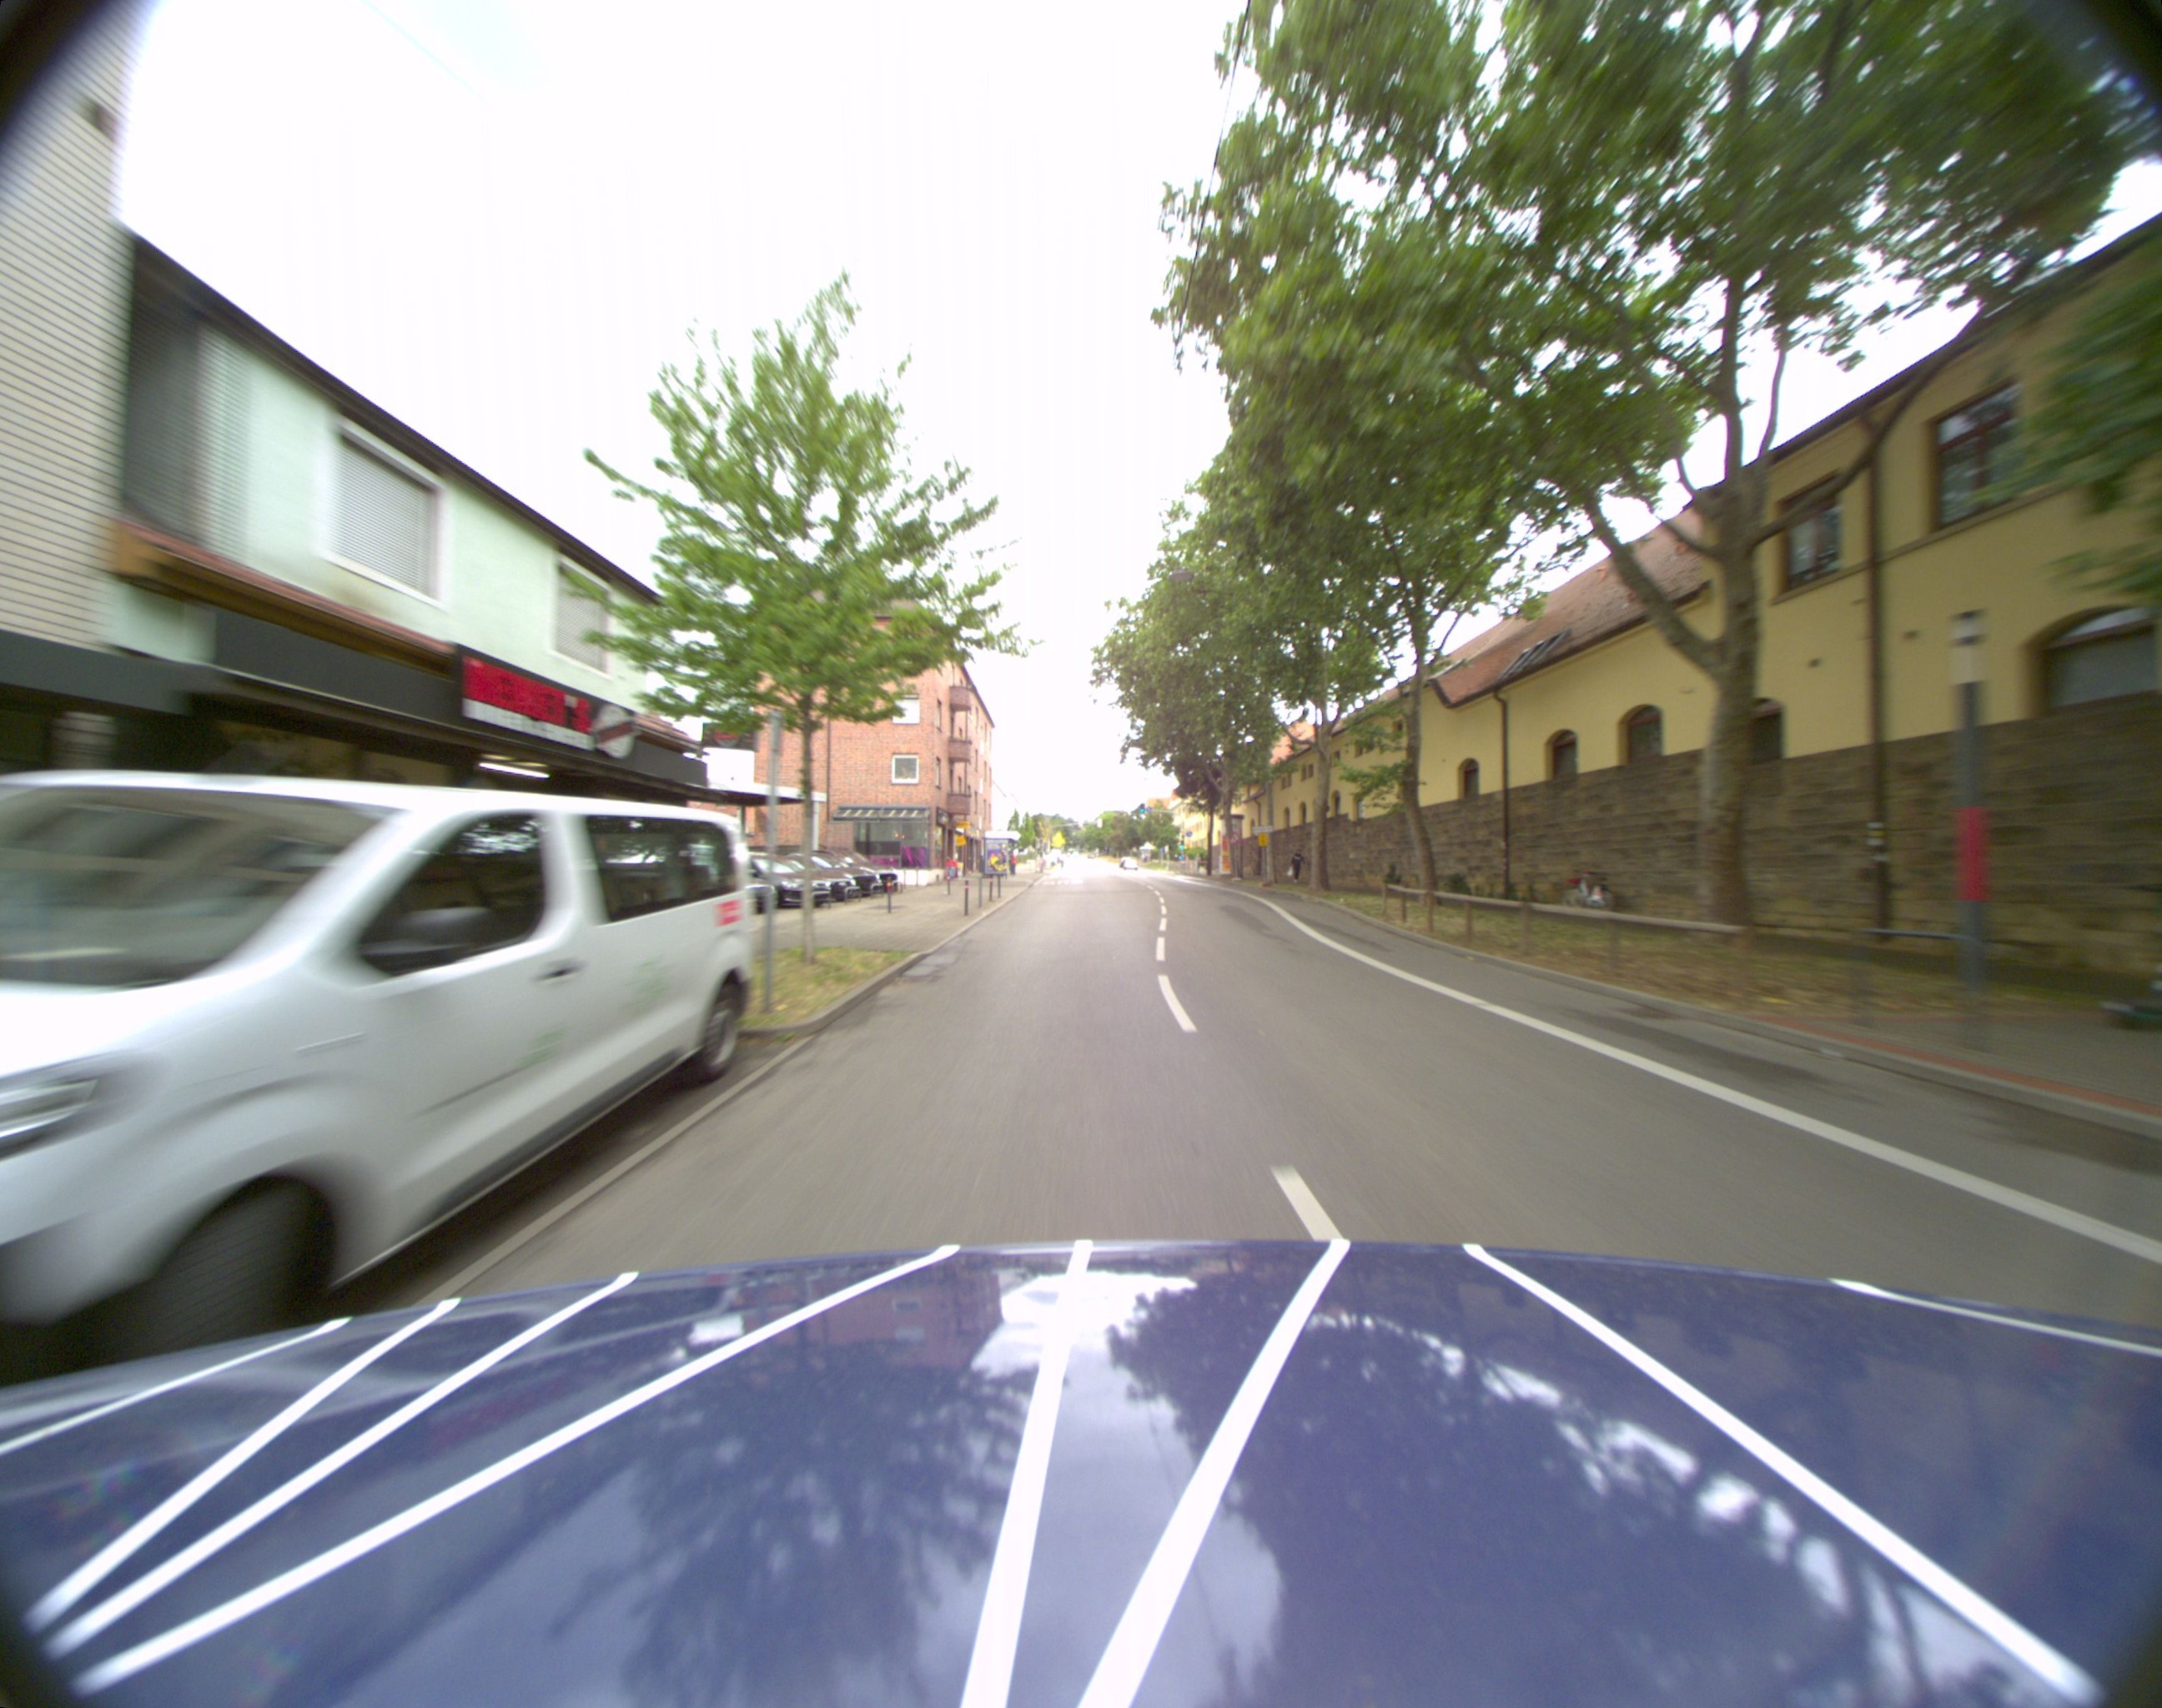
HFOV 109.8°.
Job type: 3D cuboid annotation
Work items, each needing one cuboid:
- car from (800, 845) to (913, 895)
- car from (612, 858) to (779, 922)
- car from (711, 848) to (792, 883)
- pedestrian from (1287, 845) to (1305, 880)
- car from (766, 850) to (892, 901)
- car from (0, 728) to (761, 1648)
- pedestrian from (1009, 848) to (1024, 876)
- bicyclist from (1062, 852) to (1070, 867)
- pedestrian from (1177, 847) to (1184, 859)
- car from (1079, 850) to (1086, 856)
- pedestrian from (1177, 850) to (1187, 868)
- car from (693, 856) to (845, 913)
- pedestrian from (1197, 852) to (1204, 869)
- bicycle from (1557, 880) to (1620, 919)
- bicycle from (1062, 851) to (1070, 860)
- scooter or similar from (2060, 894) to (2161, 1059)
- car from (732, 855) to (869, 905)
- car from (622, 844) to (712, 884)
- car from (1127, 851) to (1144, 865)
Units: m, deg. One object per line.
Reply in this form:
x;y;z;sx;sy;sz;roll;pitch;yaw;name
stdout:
-8.813;0.618;29.778;3.927;1.787;1.955;-1;2;28;car
-9.780;0.845;19.254;3.874;1.443;1.706;0;1;25;car
-13.752;0.472;31.668;3.160;1.355;1.471;-1;2;30;car
11.596;0.464;41.010;0.673;1.865;0.816;-1;1;1;pedestrian
-8.997;0.739;27.133;3.990;1.663;1.927;-1;1;26;car
-3.300;0.665;3.356;1.912;1.919;4.918;1;0;-3;car
-4.743;0.595;55.905;0.785;2.002;0.859;-1;1;21;pedestrian
-1.717;0.616;85.805;0.681;1.619;0.751;-1;2;16;bicyclist
17.178;-0.114;131.145;1.043;1.979;1.096;-2;2;2;pedestrian
0.585;-0.319;258.796;1.998;2.002;4.000;-2;1;3;car
9.971;0.493;75.032;0.854;1.677;0.932;-2;2;2;pedestrian
-8.864;0.799;21.584;4.034;1.475;1.802;0;1;28;car
11.614;0.641;73.961;0.625;1.653;0.549;-2;2;2;pedestrian
12.368;1.097;18.579;0.336;0.841;1.776;-1;0;0;bicycle
-1.737;0.195;85.678;0.368;0.986;1.723;-1;0;17;bicycle
9.264;1.019;6.646;1.622;1.233;0.446;-2;1;-22;scooter or similar
-9.053;0.831;24.494;4.094;1.457;1.772;-1;1;26;car
-17.071;0.414;31.301;3.615;1.578;1.557;-1;1;30;car
6.930;0.513;96.829;1.919;1.640;3.634;-2;1;7;car
